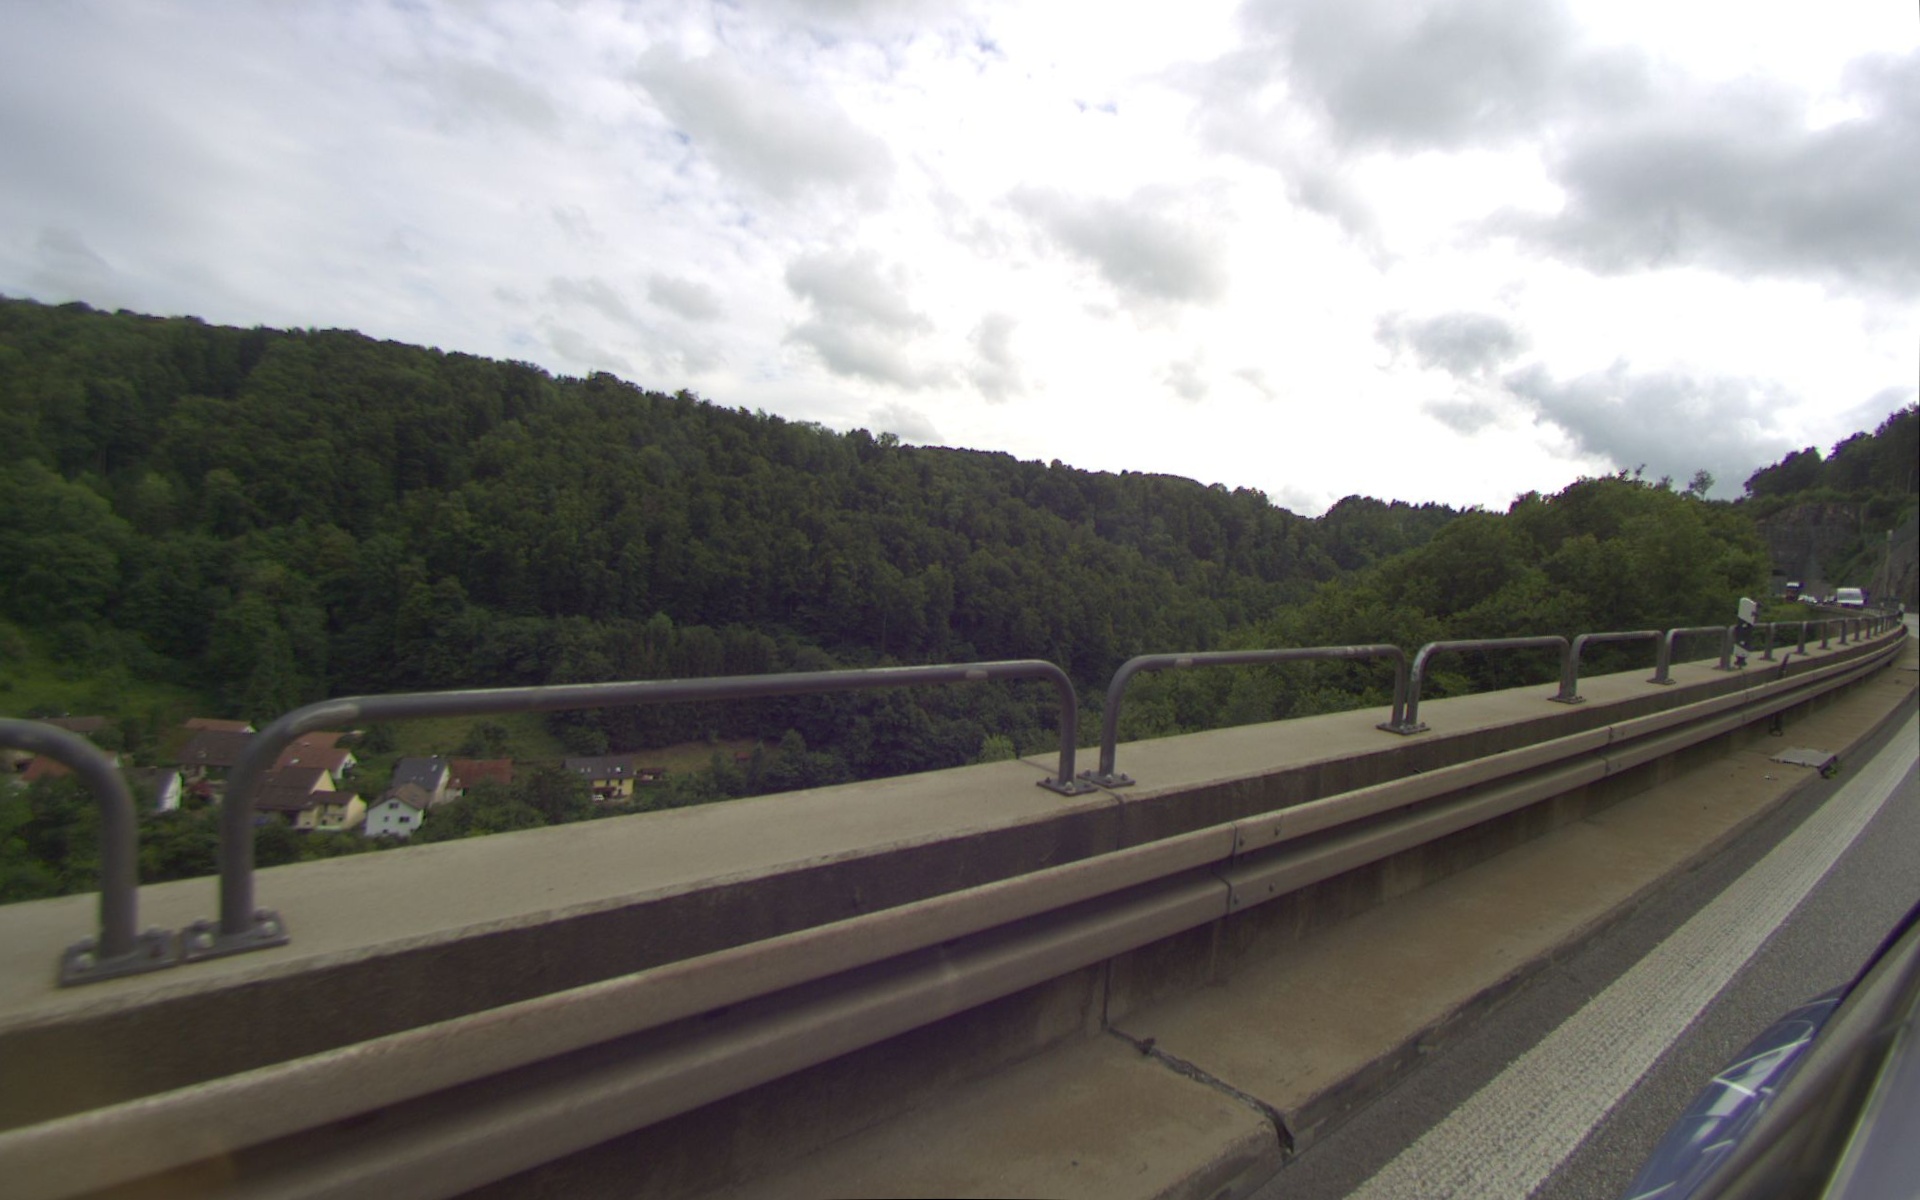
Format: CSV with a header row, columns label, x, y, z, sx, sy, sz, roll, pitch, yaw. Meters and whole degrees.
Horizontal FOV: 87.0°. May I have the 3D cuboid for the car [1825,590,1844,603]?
label,x,y,z,sx,sy,sz,roll,pitch,yaw
car,144.466,-0.527,167.182,1.988,2.039,3.949,1,0,35

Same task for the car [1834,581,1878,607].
label,x,y,z,sx,sy,sz,roll,pitch,yaw
car,86.870,-0.558,98.220,2.661,2.453,6.039,1,1,37
